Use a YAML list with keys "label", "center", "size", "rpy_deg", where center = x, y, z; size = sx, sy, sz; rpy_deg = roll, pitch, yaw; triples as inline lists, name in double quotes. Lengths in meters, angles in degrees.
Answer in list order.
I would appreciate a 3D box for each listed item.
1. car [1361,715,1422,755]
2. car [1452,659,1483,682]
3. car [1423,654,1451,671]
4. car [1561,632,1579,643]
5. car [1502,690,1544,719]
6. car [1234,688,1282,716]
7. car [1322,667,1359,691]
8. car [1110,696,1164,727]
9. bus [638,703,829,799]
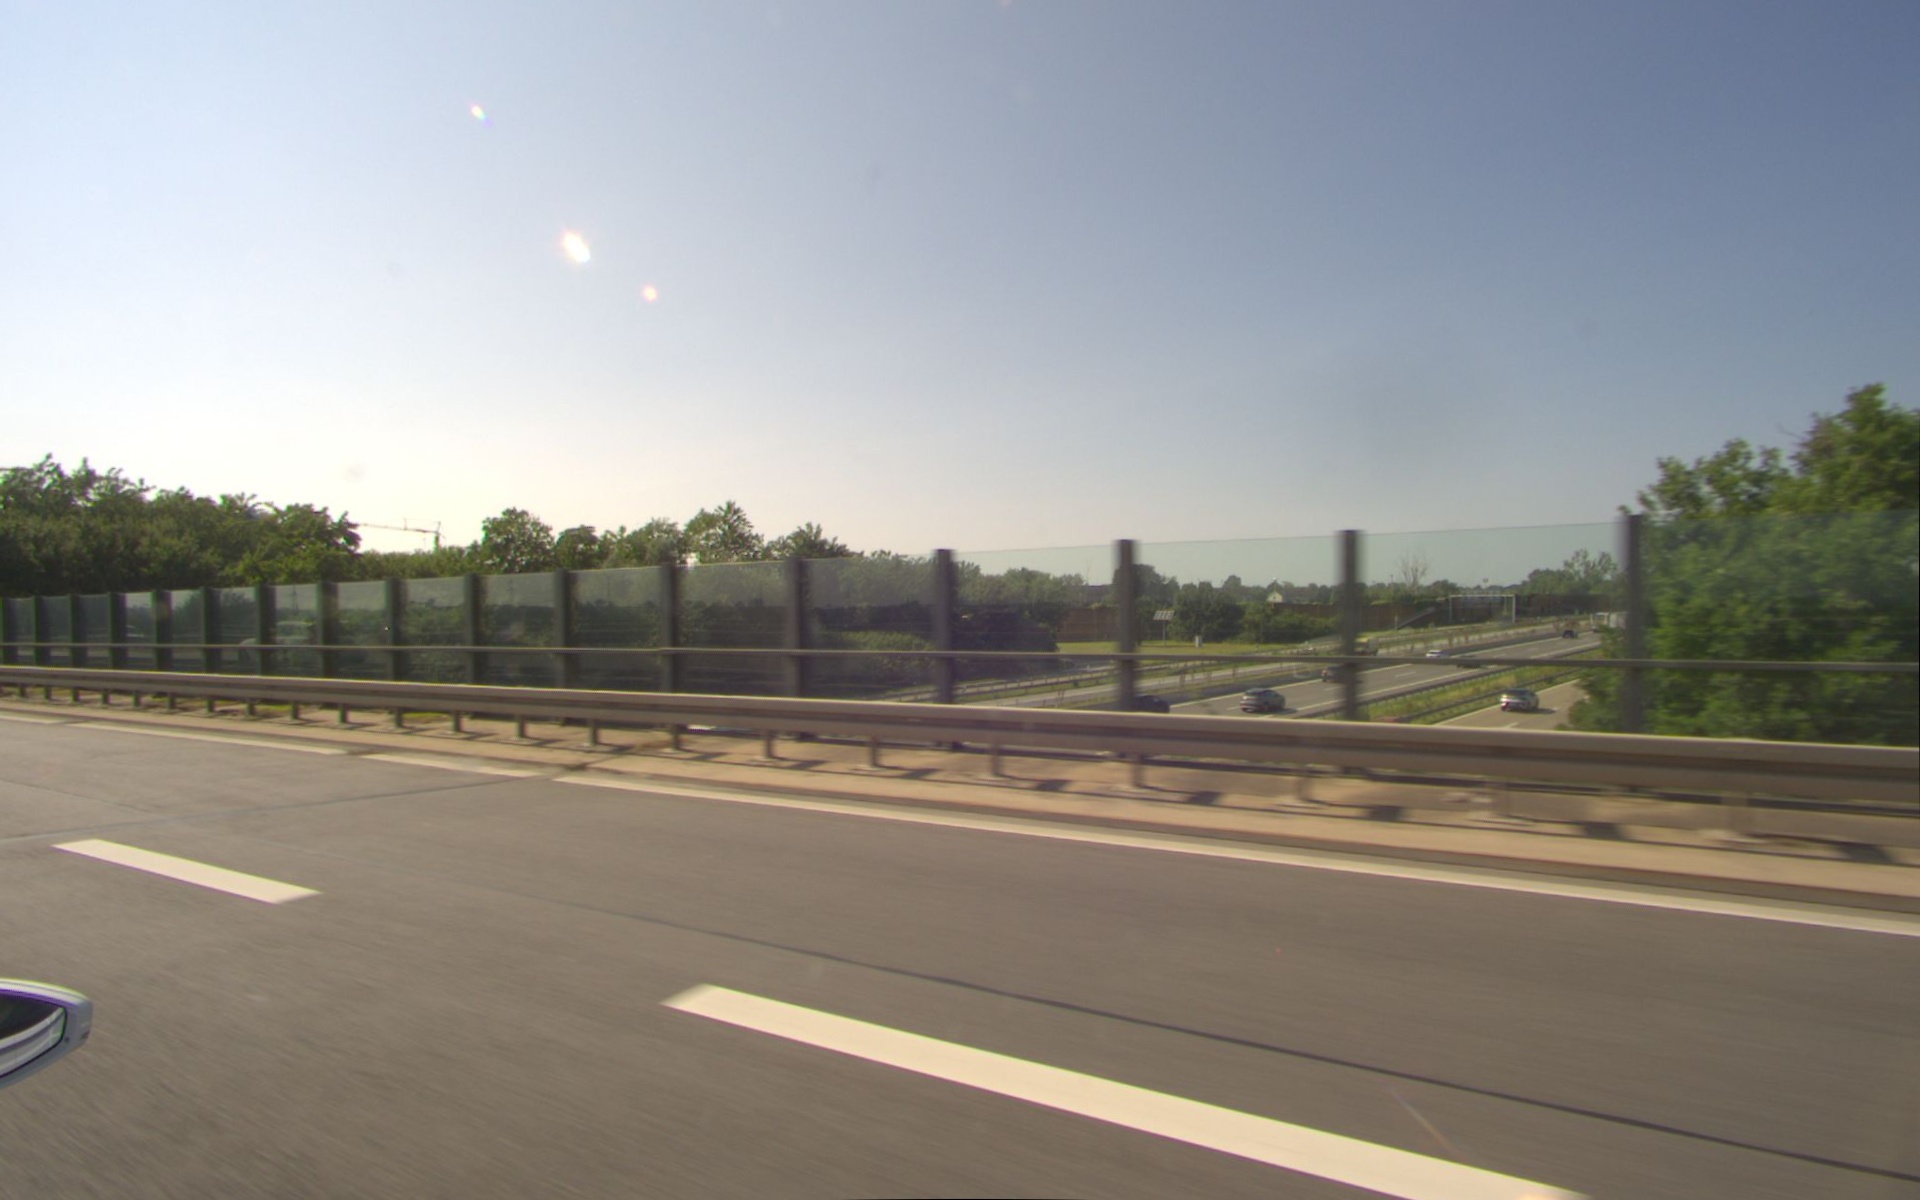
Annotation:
- label: "car"
  center: [24.063, 7.500, 55.778]
  size: [1.860, 1.787, 3.965]
  rpy_deg: [-1, -2, 44]
- label: "car"
  center: [56.310, 7.806, 111.069]
  size: [1.859, 2.388, 4.678]
  rpy_deg: [-1, -2, 42]
- label: "car"
  center: [55.108, 7.216, 115.682]
  size: [1.859, 1.787, 3.966]
  rpy_deg: [-1, -2, 43]
- label: "car"
  center: [103.345, 6.285, 169.529]
  size: [1.859, 1.787, 3.966]
  rpy_deg: [-1, -2, 43]
- label: "car"
  center: [41.391, 7.661, 73.563]
  size: [1.762, 1.794, 3.964]
  rpy_deg: [-1, -2, 44]
- label: "car"
  center: [21.712, 7.422, 72.893]
  size: [1.867, 1.672, 3.965]
  rpy_deg: [-1, -1, 43]
- label: "car"
  center: [35.785, 7.379, 94.125]
  size: [1.860, 2.037, 3.965]
  rpy_deg: [-1, -2, 43]
- label: "car"
  center: [12.237, 7.666, 69.177]
  size: [1.859, 1.787, 3.967]
  rpy_deg: [-1, -2, 42]
- label: "bus"
  center: [-9.676, 6.393, 43.753]
  size: [2.521, 3.204, 8.323]
  rpy_deg: [-1, -2, 41]
